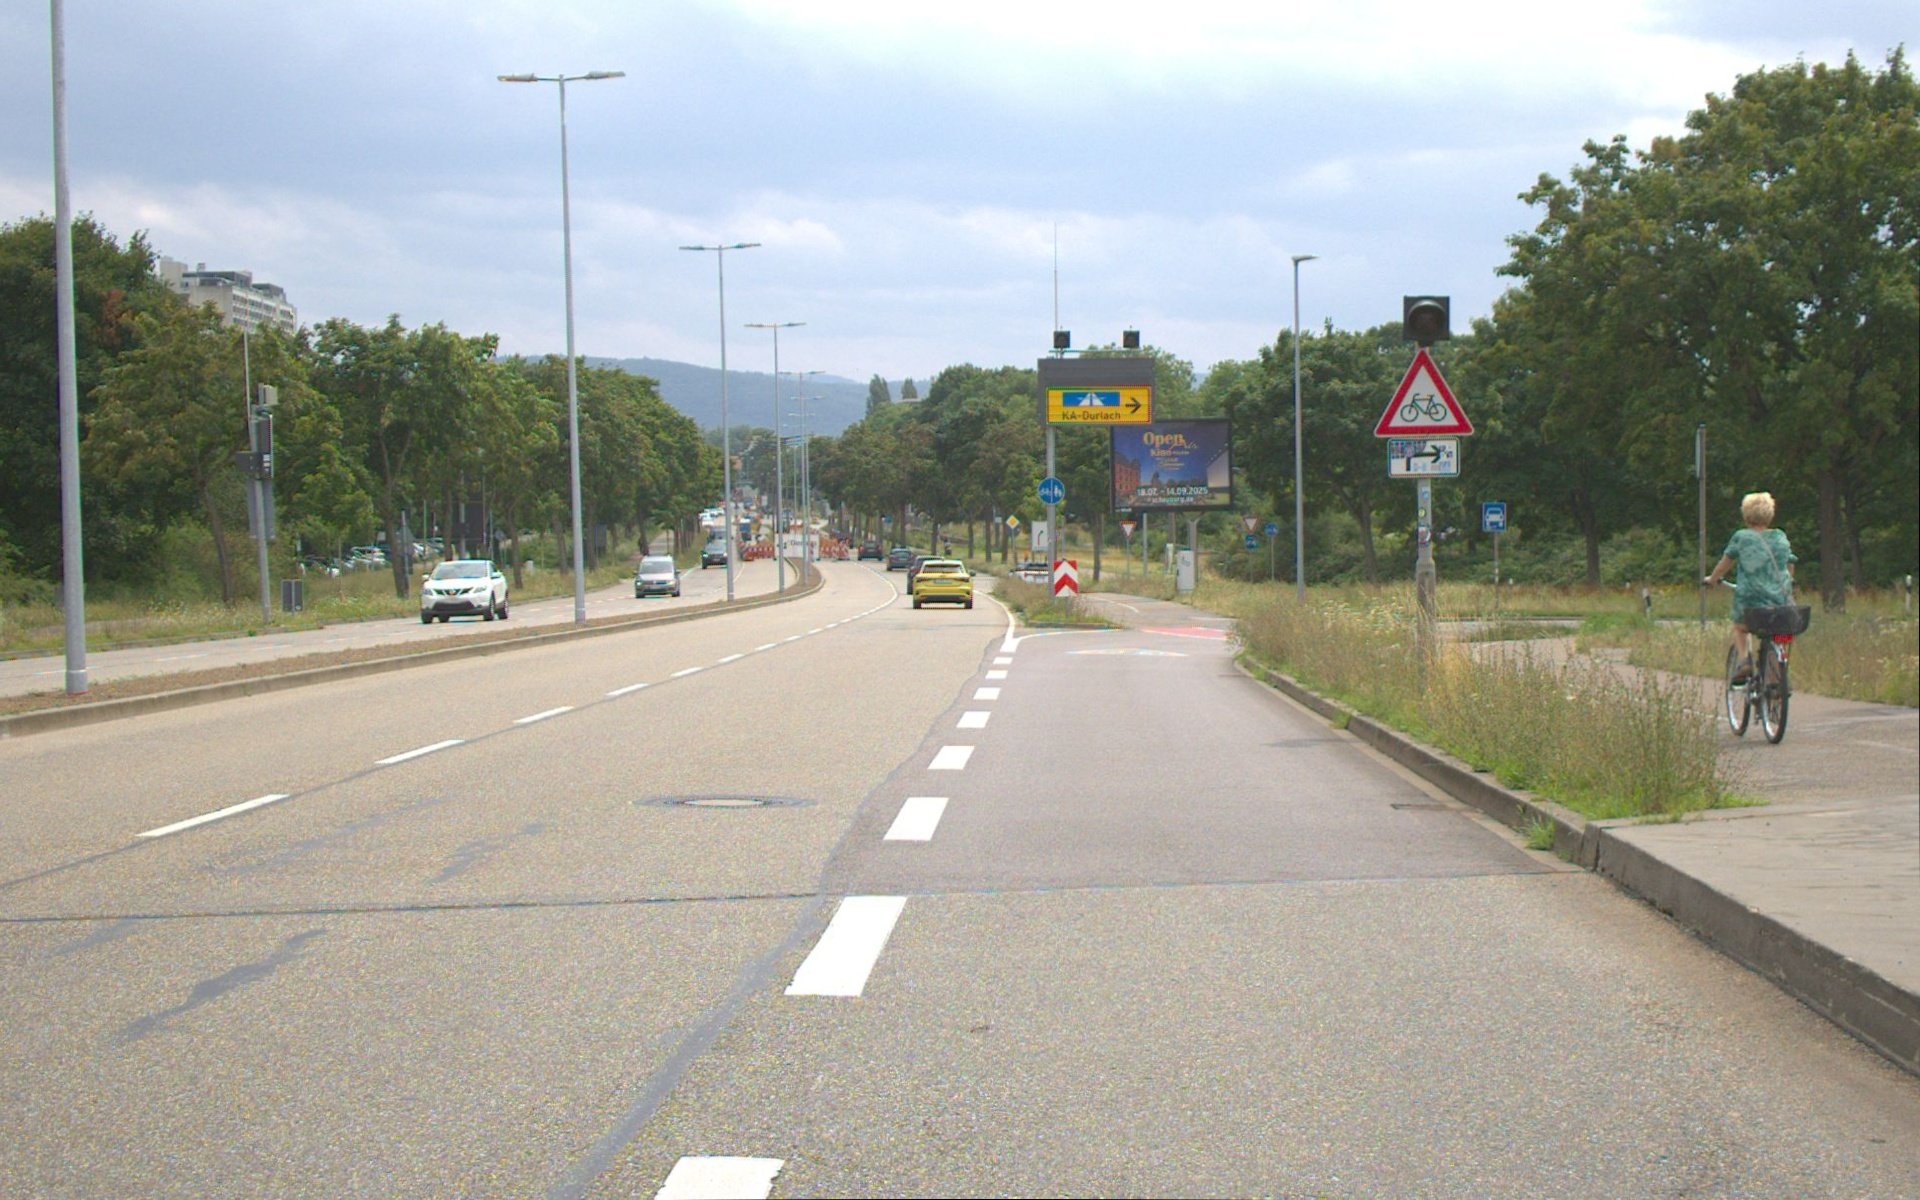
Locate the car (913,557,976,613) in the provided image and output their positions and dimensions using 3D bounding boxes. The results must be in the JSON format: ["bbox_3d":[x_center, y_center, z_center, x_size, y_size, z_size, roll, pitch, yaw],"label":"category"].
[{"bbox_3d":[-0.476,-0.461,102.205,1.793,1.556,4.001,0,2,-1],"label":"car"}]

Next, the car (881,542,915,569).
[{"bbox_3d":[-4.053,-2.939,224.753,2.206,1.678,4.000,0,2,0],"label":"car"}]

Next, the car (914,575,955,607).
[{"bbox_3d":[-1.095,-0.391,145.209,1.667,1.265,4.001,0,2,-1],"label":"car"}]

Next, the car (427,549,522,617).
[{"bbox_3d":[-12.446,-0.469,88.353,1.694,1.623,4.384,0,2,1],"label":"car"}]

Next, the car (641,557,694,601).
[{"bbox_3d":[-12.664,-0.937,149.175,1.902,1.803,4.540,0,2,0],"label":"car"}]

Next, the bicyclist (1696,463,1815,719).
[{"bbox_3d":[5.244,-0.069,22.674,0.621,1.660,0.669,0,2,-1],"label":"bicyclist"}]

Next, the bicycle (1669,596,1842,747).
[{"bbox_3d":[5.258,0.453,22.833,0.623,0.885,2.155,0,2,-1],"label":"bicycle"}]

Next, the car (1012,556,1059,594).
[{"bbox_3d":[3.521,-1.178,161.763,2.013,1.665,4.001,0,2,-1],"label":"car"}]
